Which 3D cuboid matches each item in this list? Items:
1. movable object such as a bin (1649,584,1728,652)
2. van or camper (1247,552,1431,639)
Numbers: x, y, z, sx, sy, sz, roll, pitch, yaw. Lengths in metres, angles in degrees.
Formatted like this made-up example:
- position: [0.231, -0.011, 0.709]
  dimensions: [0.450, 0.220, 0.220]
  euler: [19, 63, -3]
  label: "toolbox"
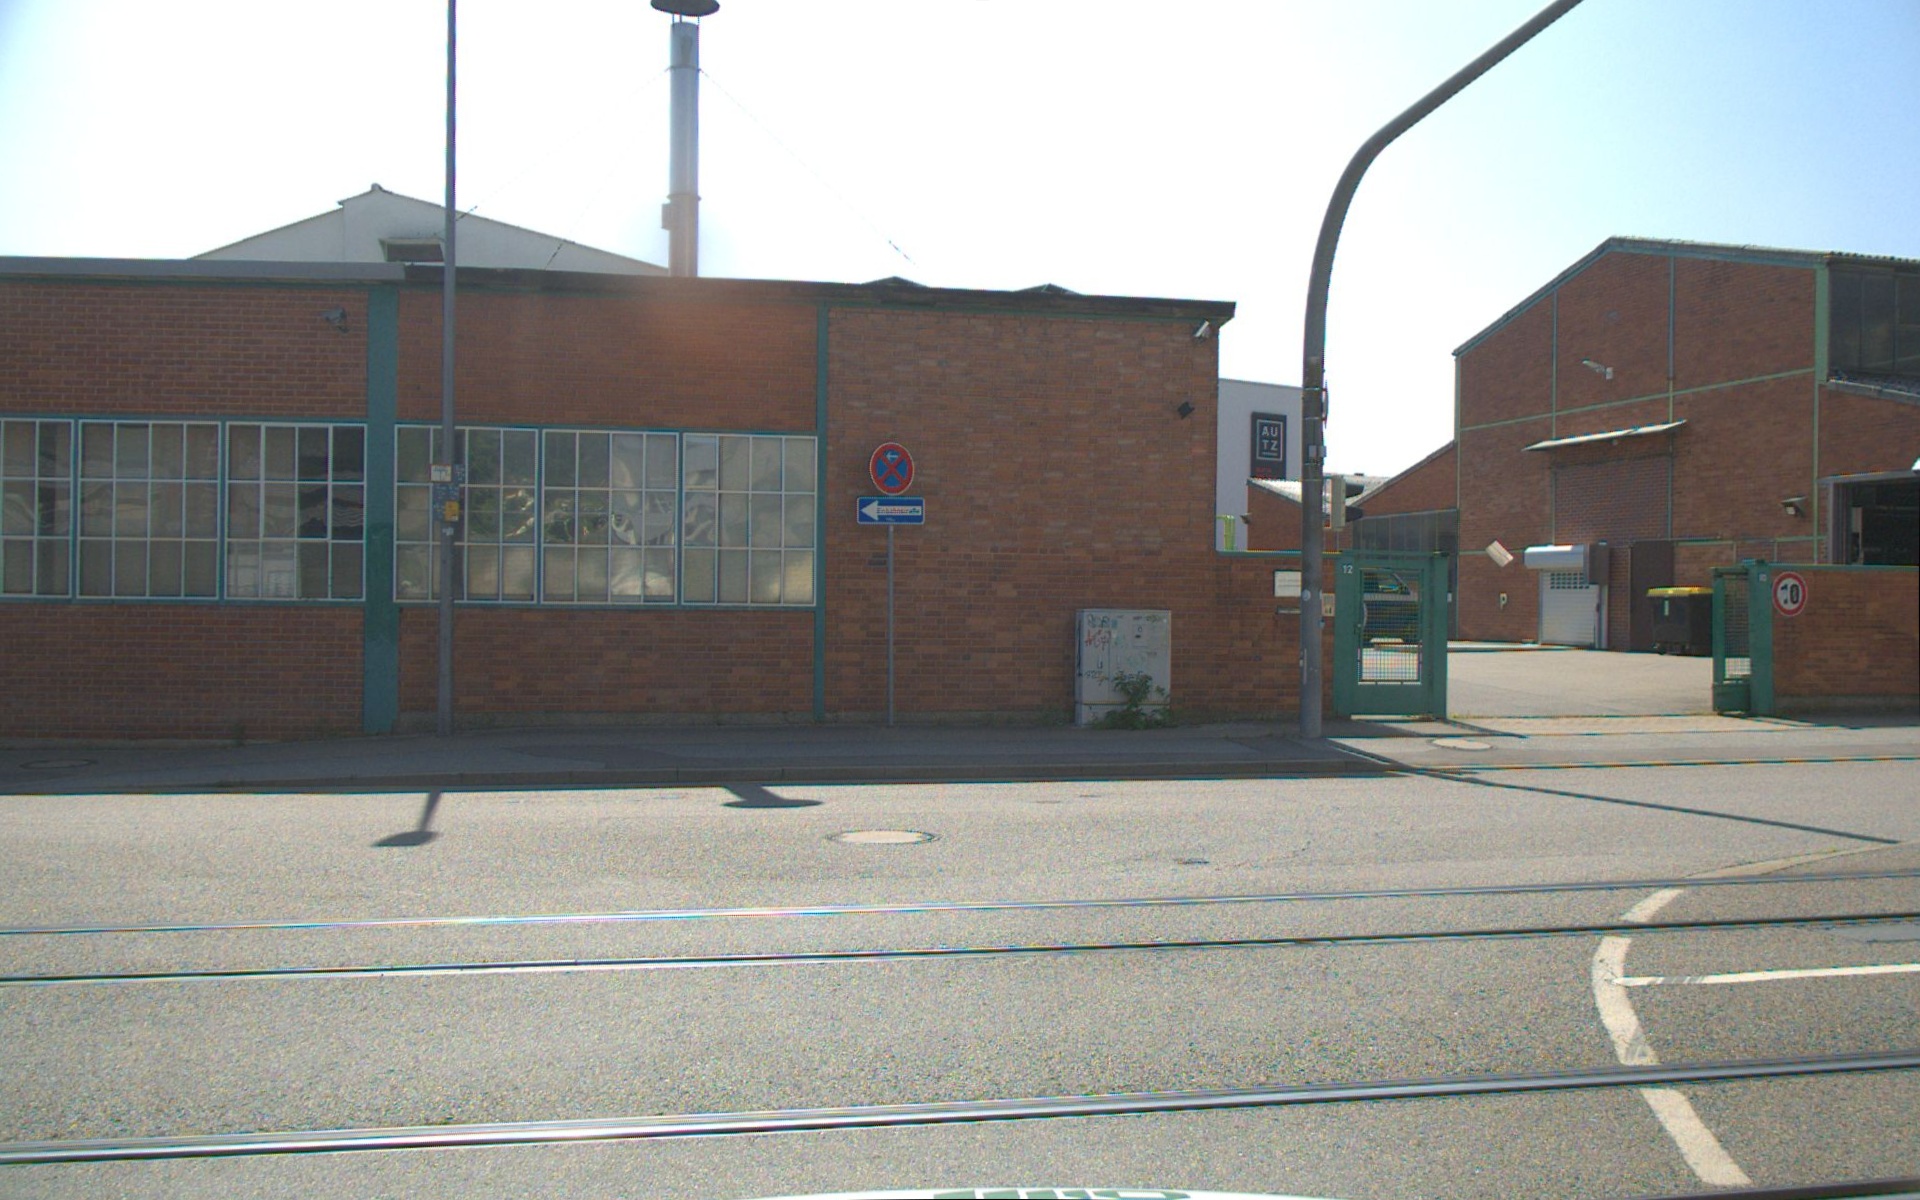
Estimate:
- position: [14.630, 0.345, 33.233]
  dimensions: [0.958, 1.337, 1.148]
  euler: [-1, 0, -15]
  label: "movable object such as a bin"
- position: [9.410, -0.098, 40.964]
  dimensions: [4.368, 1.933, 1.976]
  euler: [3, -1, -34]
  label: "van or camper"
